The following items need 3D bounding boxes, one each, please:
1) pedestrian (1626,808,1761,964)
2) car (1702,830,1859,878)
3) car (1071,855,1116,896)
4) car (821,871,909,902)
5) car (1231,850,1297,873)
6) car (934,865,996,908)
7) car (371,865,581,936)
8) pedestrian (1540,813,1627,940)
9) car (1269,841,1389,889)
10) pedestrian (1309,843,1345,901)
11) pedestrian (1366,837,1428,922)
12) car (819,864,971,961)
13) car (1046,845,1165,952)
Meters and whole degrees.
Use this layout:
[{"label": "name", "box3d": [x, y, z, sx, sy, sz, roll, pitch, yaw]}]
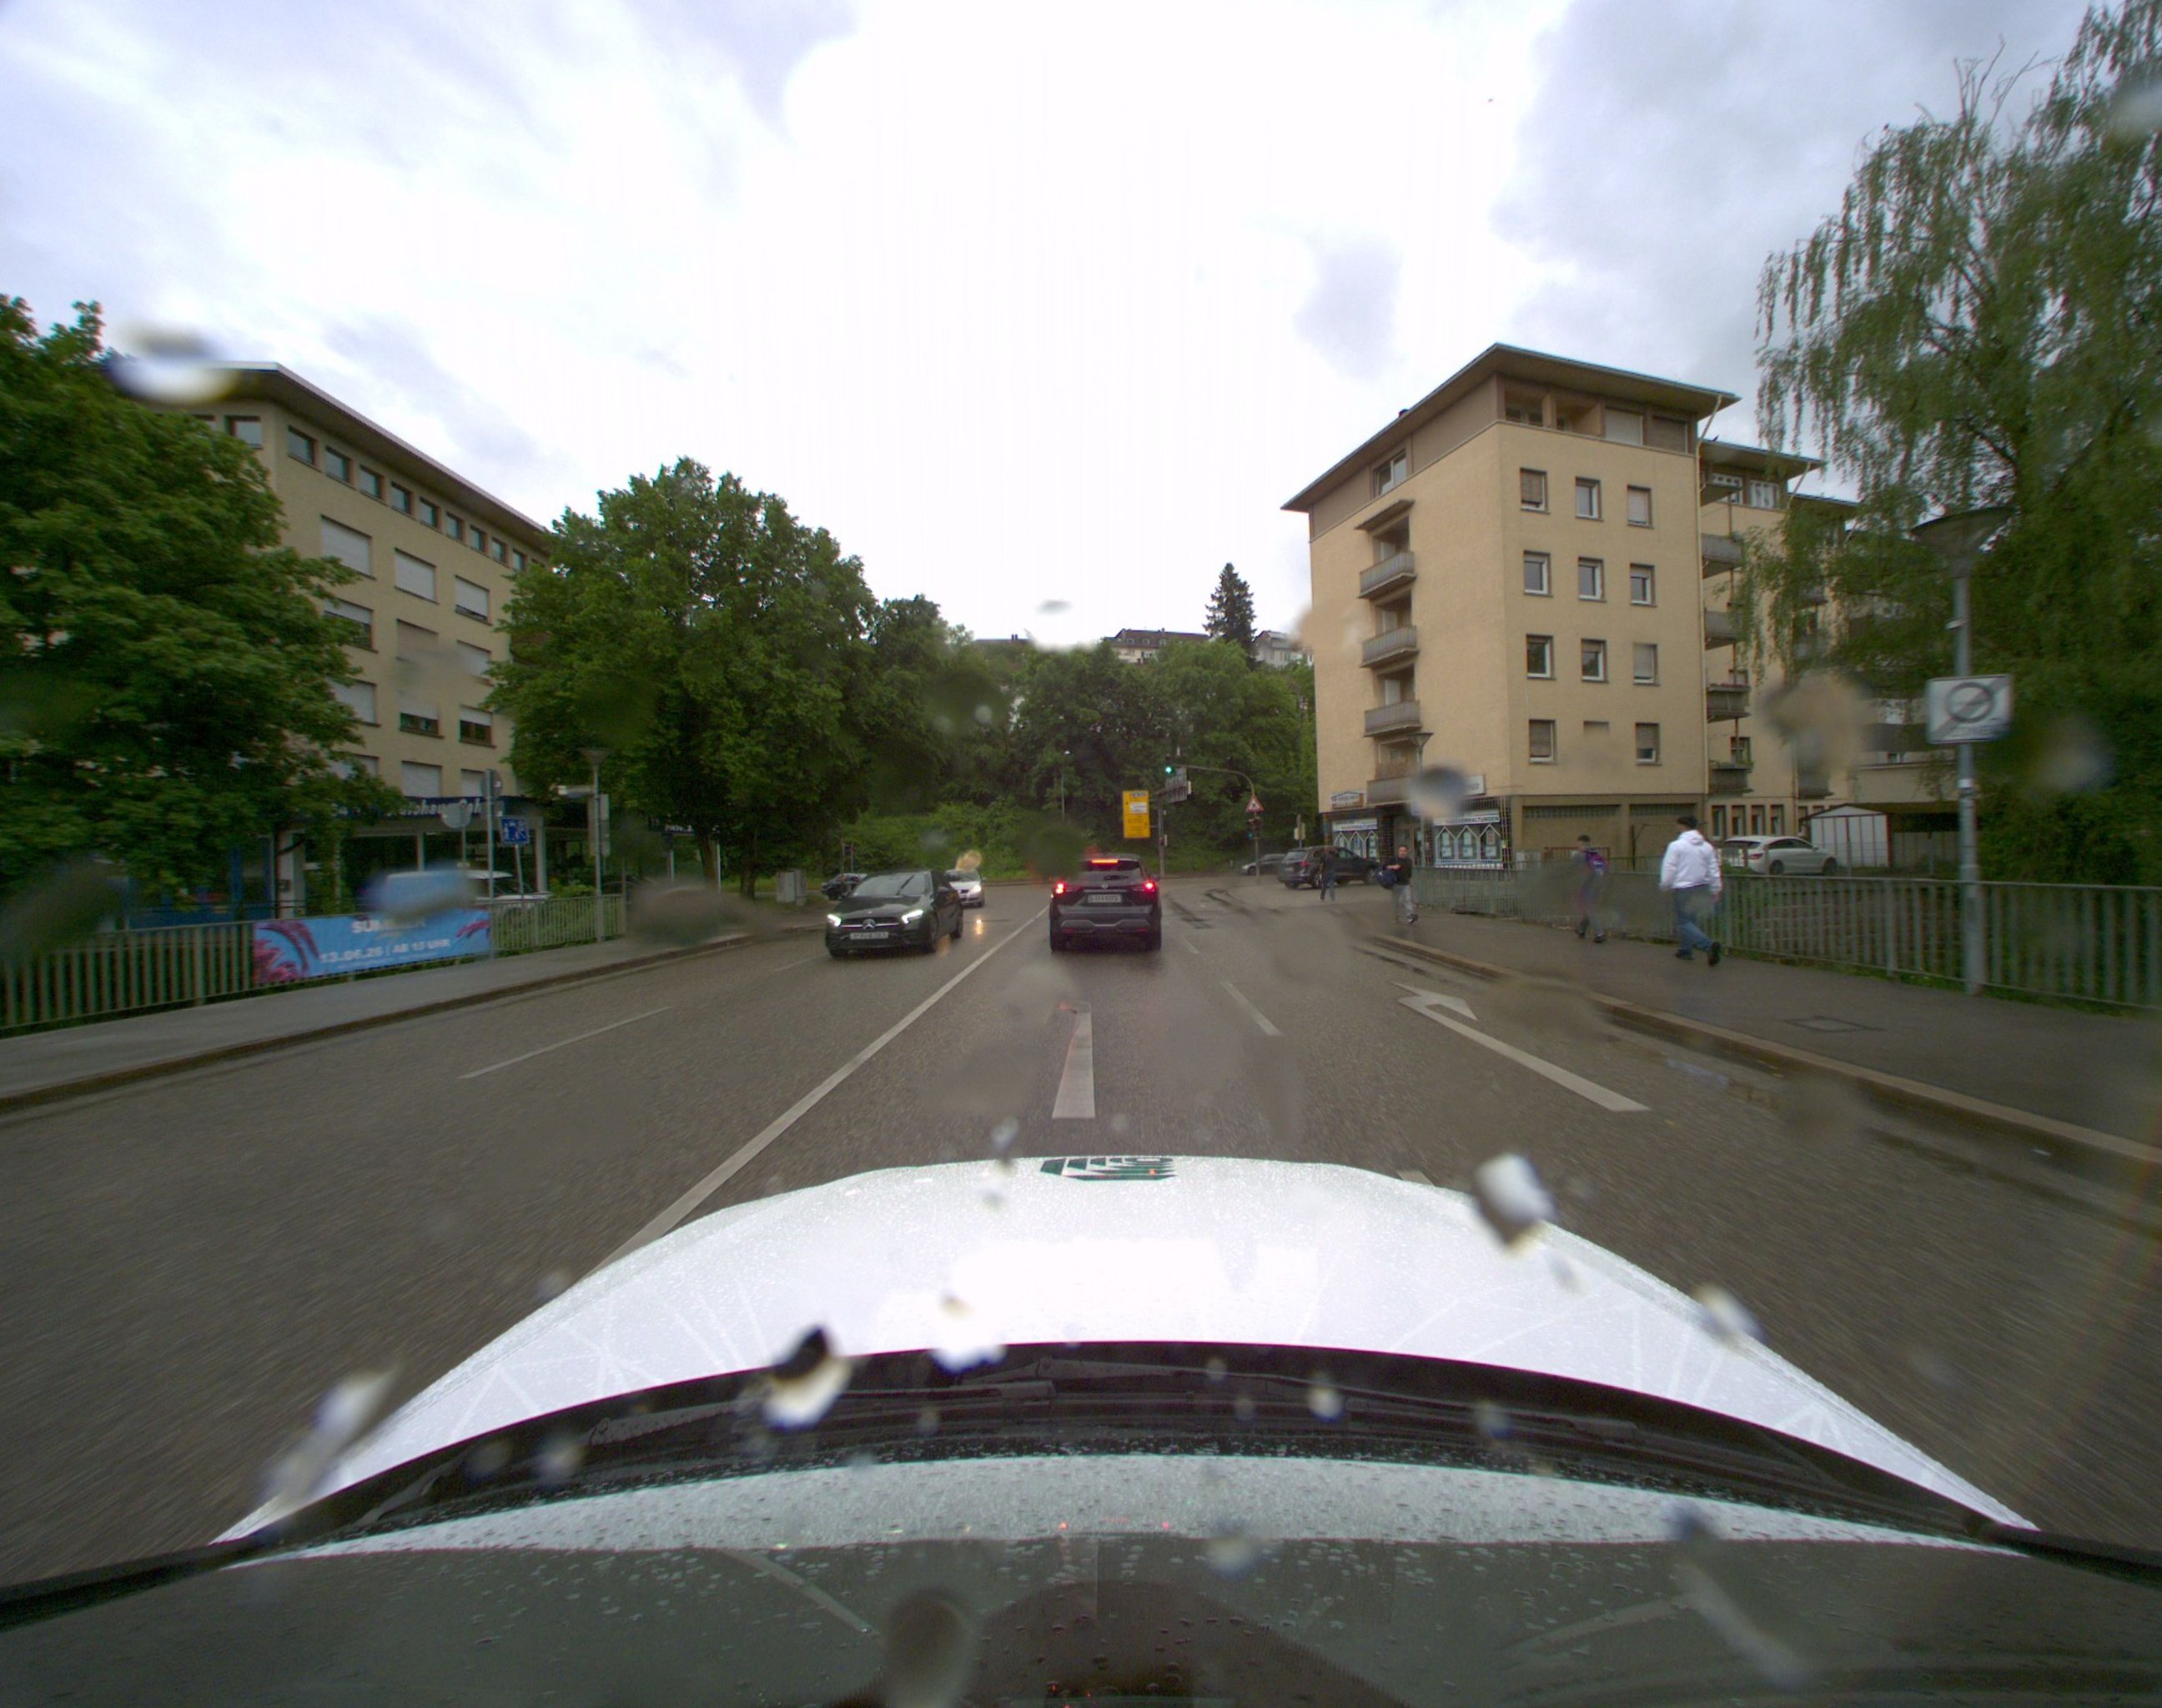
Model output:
[{"label": "pedestrian", "box3d": [7.311, 0.362, 9.781, 0.777, 1.752, 1.061, -2, 0, 1]}, {"label": "car", "box3d": [23.470, -0.036, 27.353, 4.447, 1.376, 1.808, -2, 1, -15]}, {"label": "car", "box3d": [0.560, 0.871, 34.504, 1.804, 1.603, 4.001, 0, 0, 1]}, {"label": "car", "box3d": [-11.509, 1.738, 43.413, 4.373, 1.459, 1.744, -3, -1, 26]}, {"label": "car", "box3d": [13.630, 0.551, 60.767, 4.325, 1.502, 1.877, -3, 0, -10]}, {"label": "car", "box3d": [-4.306, 1.187, 30.823, 1.620, 1.419, 3.688, -2, -1, 2]}, {"label": "car", "box3d": [-18.489, 1.366, 25.107, 4.738, 1.854, 1.995, -2, 2, -8]}, {"label": "pedestrian", "box3d": [7.511, 0.325, 12.199, 0.758, 1.809, 0.781, -3, 0, 1]}, {"label": "car", "box3d": [9.868, 0.418, 32.408, 4.388, 1.649, 1.868, -3, 0, -24]}, {"label": "pedestrian", "box3d": [7.379, 0.537, 24.448, 0.758, 1.677, 0.781, -4, 0, 1]}, {"label": "pedestrian", "box3d": [6.269, 0.496, 16.203, 0.859, 1.619, 0.840, -3, 0, 1]}, {"label": "car", "box3d": [-3.249, 0.963, 15.070, 1.703, 1.416, 4.095, -3, 0, 1]}, {"label": "car", "box3d": [0.440, 0.718, 14.645, 1.804, 1.603, 4.001, -2, -1, 1]}]
